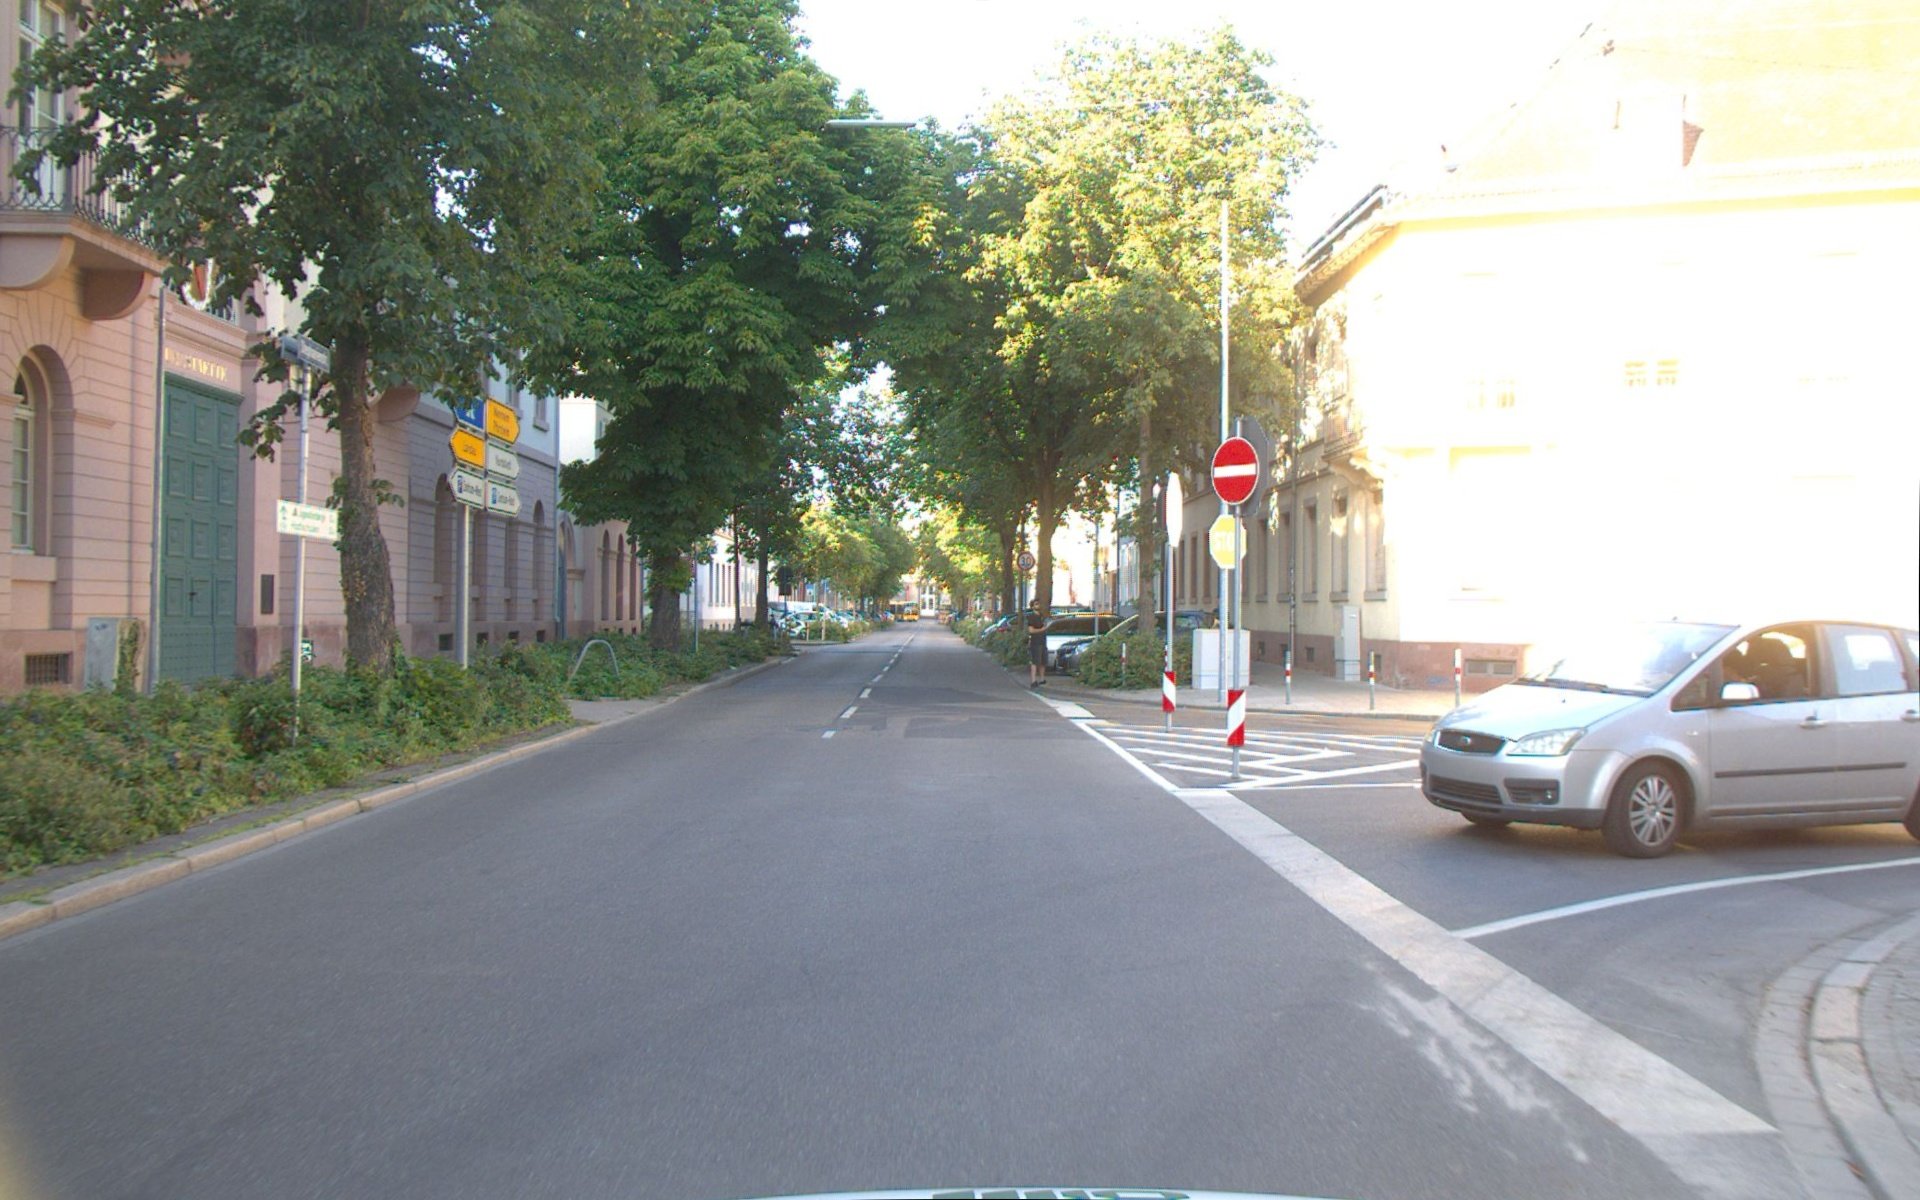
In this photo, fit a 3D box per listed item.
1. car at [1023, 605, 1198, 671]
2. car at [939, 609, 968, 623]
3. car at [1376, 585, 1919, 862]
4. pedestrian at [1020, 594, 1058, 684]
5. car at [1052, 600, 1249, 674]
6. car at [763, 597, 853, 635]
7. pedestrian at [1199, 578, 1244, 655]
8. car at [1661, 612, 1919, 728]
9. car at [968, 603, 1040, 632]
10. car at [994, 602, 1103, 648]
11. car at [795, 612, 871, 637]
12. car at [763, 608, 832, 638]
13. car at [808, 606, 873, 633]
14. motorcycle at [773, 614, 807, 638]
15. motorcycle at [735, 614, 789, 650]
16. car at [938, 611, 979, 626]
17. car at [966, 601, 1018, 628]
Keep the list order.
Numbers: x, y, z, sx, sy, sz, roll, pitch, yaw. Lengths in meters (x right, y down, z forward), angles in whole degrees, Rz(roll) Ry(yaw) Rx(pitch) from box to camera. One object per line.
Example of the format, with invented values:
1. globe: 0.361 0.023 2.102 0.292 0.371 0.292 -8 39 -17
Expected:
1. car: 3.683 0.924 41.025 4.107 1.506 1.852 -1 0 -1
2. car: -0.887 2.139 227.254 3.902 1.870 2.001 0 0 6
3. car: 5.285 0.772 11.667 4.273 1.683 1.875 0 -1 -20
4. pedestrian: 1.706 0.822 35.507 0.777 1.901 0.752 0 -1 4
5. car: 4.102 0.783 36.068 4.025 1.516 1.849 0 1 -2
6. car: -8.672 0.927 94.681 4.962 2.119 2.262 0 0 -2
7. pedestrian: 5.978 0.374 37.868 0.924 1.736 0.782 0 1 0
8. car: 12.568 0.974 24.050 4.322 1.570 1.865 0 0 25
9. car: 2.780 1.118 105.095 4.499 1.792 2.221 0 0 0
10. car: 3.285 0.919 61.958 3.934 1.651 1.780 0 0 -2
11. car: -8.783 1.678 114.738 4.959 1.645 2.264 0 0 2
12. car: -8.744 1.227 89.282 3.653 1.534 1.871 0 0 -5
13. car: -9.407 1.549 130.983 4.960 2.119 2.263 0 0 0
14. motorcycle: -8.237 1.256 80.099 1.603 1.087 0.656 1 0 -1
15. motorcycle: -7.106 1.143 59.519 1.880 1.281 0.590 0 0 -1
16. car: -0.119 1.798 159.530 3.907 1.467 1.696 0 0 -3
17. car: 2.426 1.088 124.208 3.904 2.049 2.000 0 0 2
